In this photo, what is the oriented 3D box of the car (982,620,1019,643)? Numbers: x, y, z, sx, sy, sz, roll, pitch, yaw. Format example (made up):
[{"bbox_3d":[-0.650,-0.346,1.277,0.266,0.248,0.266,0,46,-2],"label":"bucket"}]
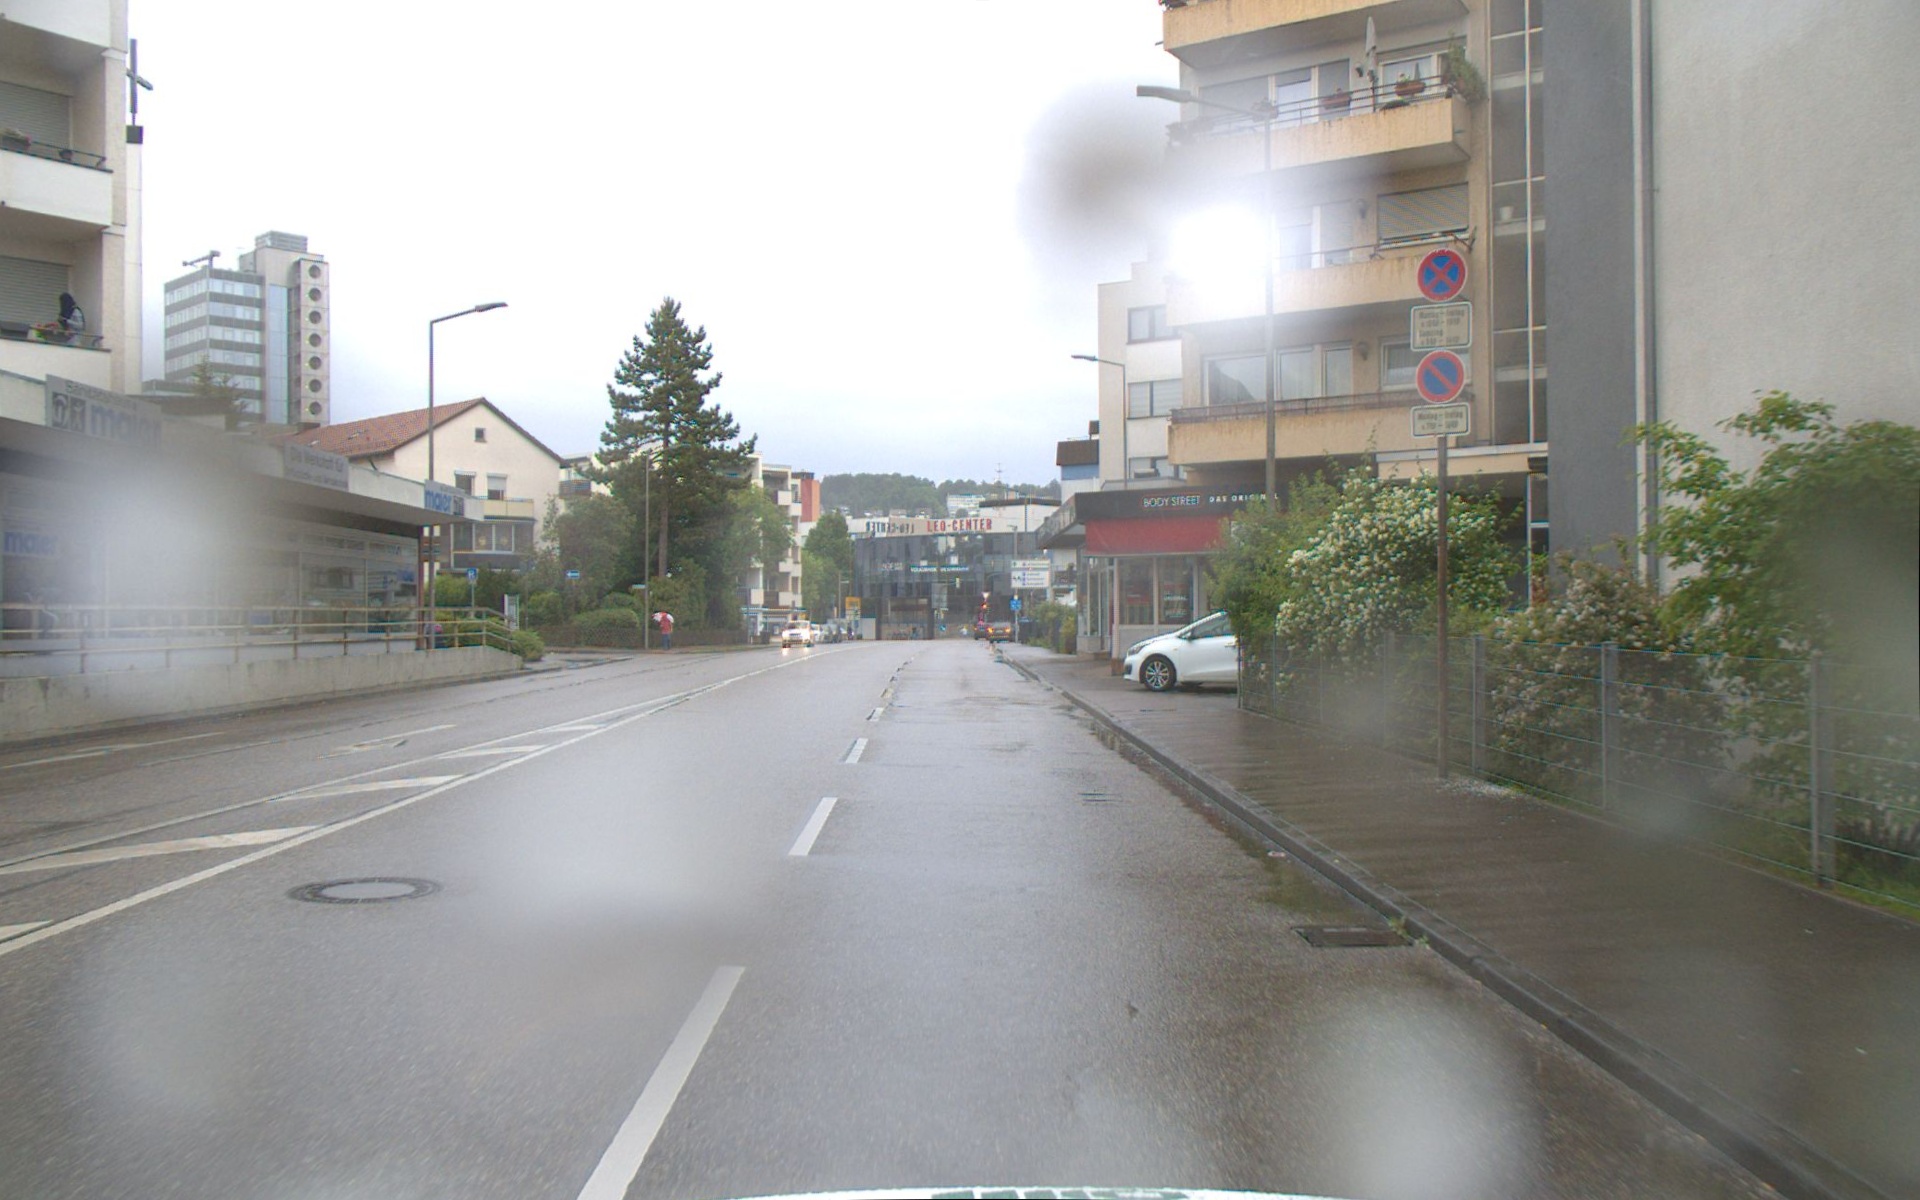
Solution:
[{"bbox_3d":[3.055,2.367,123.374,1.951,1.561,4.650,0,-2,12],"label":"car"}]

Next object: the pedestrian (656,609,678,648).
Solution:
[{"bbox_3d":[-12.577,1.234,71.011,0.852,1.635,1.101,0,-2,-7],"label":"pedestrian"}]

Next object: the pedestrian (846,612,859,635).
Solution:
[{"bbox_3d":[-9.980,2.160,153.670,0.733,2.049,0.921,3,-1,23],"label":"pedestrian"}]

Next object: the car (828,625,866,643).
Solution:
[{"bbox_3d":[-11.741,3.524,171.563,1.977,1.538,4.380,3,0,-35],"label":"car"}]

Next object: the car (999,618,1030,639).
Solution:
[{"bbox_3d":[4.257,2.234,128.737,1.662,1.512,4.003,-4,-2,11],"label":"car"}]

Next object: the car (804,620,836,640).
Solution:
[{"bbox_3d":[-11.033,2.386,130.657,1.894,1.569,4.522,0,-1,2],"label":"car"}]

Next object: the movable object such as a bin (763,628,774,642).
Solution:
[{"bbox_3d":[-13.313,2.430,115.133,0.634,0.983,0.683,-1,-1,2],"label":"movable object such as a bin"}]

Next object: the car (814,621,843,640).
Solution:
[{"bbox_3d":[-10.796,2.488,136.095,1.894,1.569,4.274,0,-1,2],"label":"car"}]

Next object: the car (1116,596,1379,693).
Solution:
[{"bbox_3d":[5.007,0.724,28.906,4.175,1.520,1.870,1,1,28],"label":"car"}]

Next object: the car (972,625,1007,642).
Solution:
[{"bbox_3d":[2.581,2.870,142.907,1.767,1.444,4.000,-1,-1,21],"label":"car"}]

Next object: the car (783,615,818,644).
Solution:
[{"bbox_3d":[-8.932,1.628,92.638,1.664,1.433,3.998,-3,0,-2],"label":"car"}]
